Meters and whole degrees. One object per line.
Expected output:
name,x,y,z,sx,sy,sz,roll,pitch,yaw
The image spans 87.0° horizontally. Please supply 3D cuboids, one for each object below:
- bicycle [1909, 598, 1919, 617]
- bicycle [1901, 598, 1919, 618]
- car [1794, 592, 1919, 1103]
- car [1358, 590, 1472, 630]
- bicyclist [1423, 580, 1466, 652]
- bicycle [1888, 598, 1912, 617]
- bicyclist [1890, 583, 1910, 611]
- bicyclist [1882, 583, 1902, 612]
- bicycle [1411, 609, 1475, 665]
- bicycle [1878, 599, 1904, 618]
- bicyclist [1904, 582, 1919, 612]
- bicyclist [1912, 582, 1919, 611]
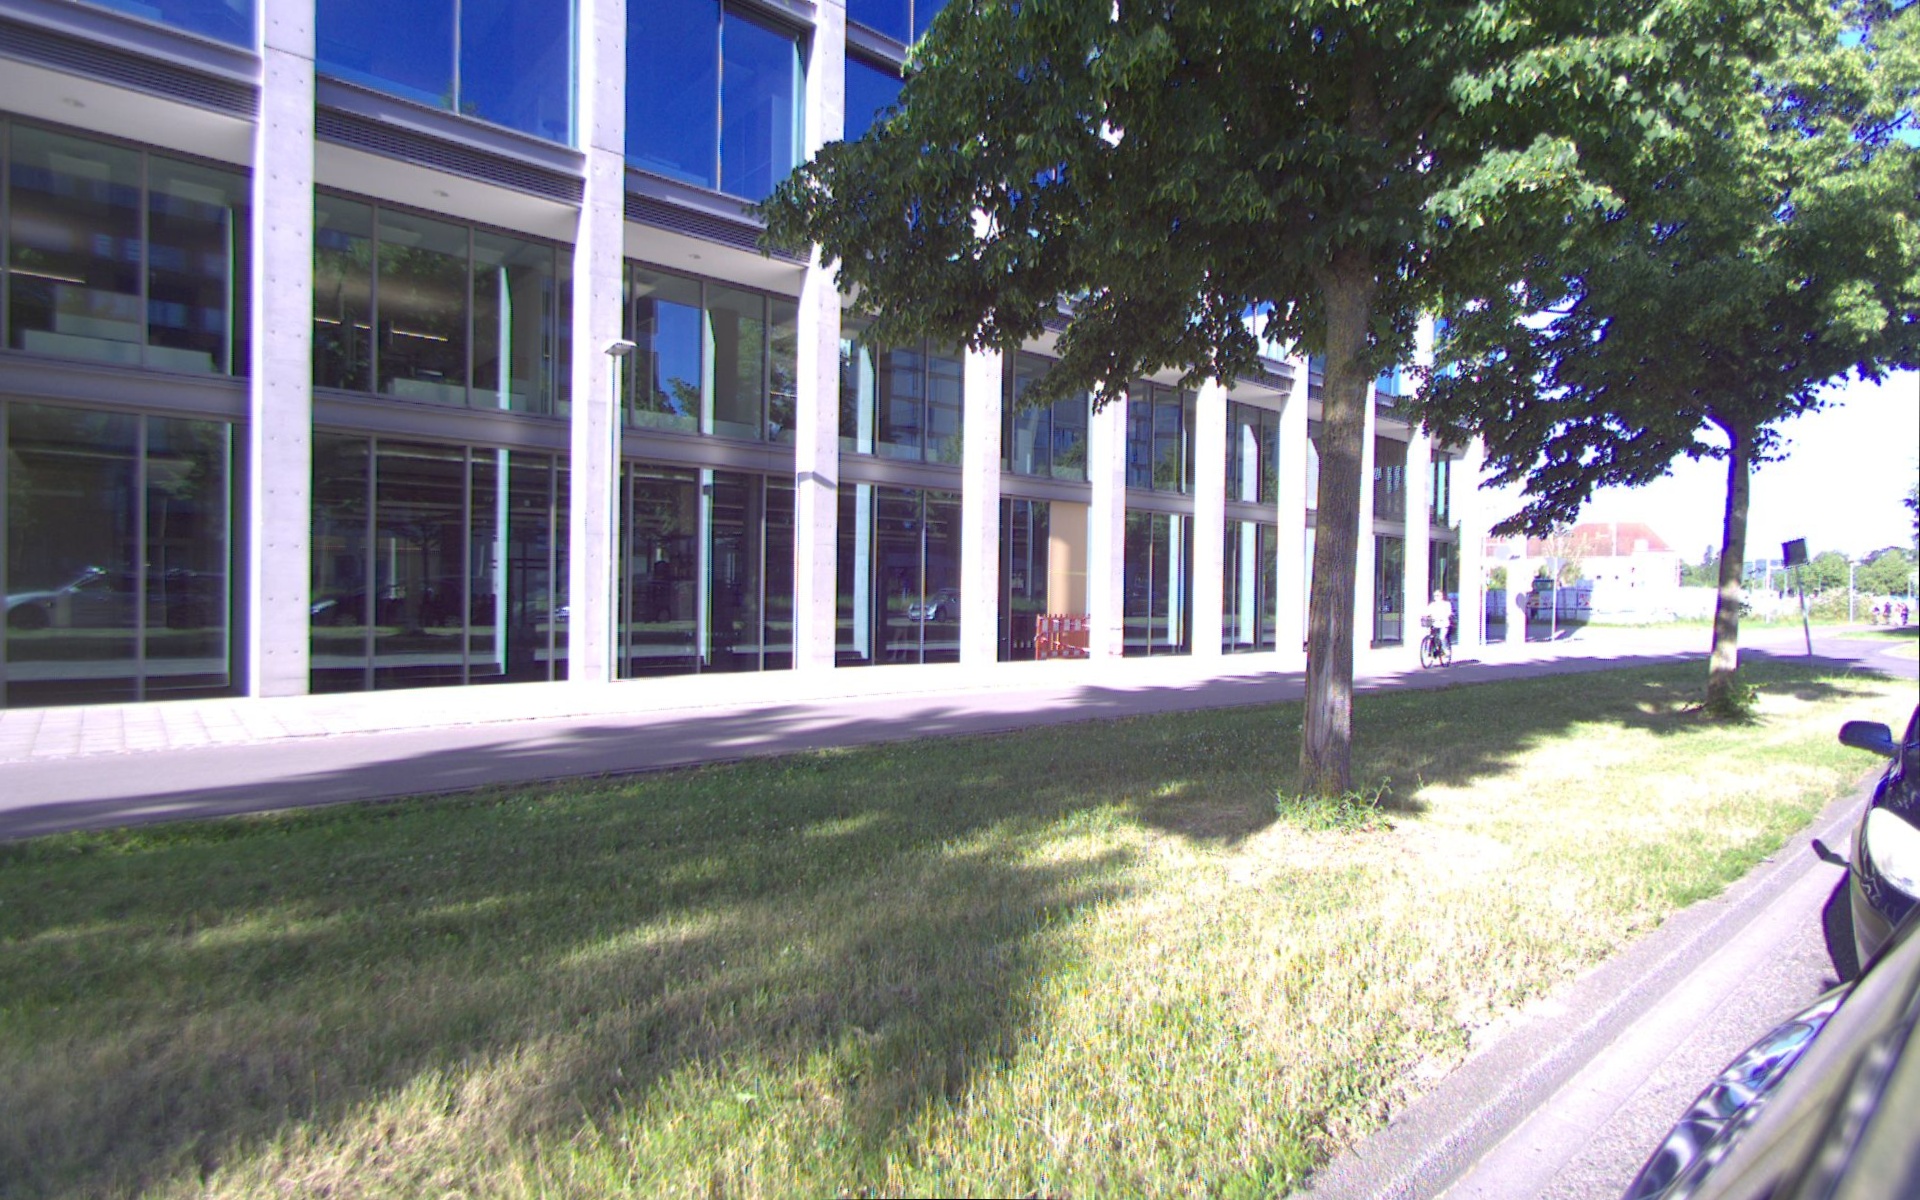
bicycle,71.233,0.535,74.993,3.930,1.380,0.930,0,1,-41
bicycle,68.169,0.568,72.295,3.930,1.380,0.930,0,1,-41
car,4.892,0.736,3.936,4.403,1.500,1.845,0,1,-41
car,19.507,0.393,43.493,1.963,1.598,3.997,0,1,-38
bicyclist,10.838,0.355,22.619,0.688,1.558,0.590,1,2,-43
bicycle,70.428,0.560,75.818,3.930,1.380,0.930,0,1,-41
bicyclist,70.256,-0.235,75.631,1.101,2.082,0.930,0,0,-41
bicyclist,67.204,-0.201,72.994,1.101,2.082,0.930,0,0,-41
bicycle,10.821,0.801,22.634,1.895,1.170,0.590,1,2,-43
bicycle,67.175,0.596,72.989,3.930,1.380,0.930,0,1,-41
bicyclist,68.113,-0.228,72.238,1.101,2.082,0.930,0,0,-41
bicyclist,71.194,-0.261,74.927,1.101,2.082,0.930,0,0,-41
